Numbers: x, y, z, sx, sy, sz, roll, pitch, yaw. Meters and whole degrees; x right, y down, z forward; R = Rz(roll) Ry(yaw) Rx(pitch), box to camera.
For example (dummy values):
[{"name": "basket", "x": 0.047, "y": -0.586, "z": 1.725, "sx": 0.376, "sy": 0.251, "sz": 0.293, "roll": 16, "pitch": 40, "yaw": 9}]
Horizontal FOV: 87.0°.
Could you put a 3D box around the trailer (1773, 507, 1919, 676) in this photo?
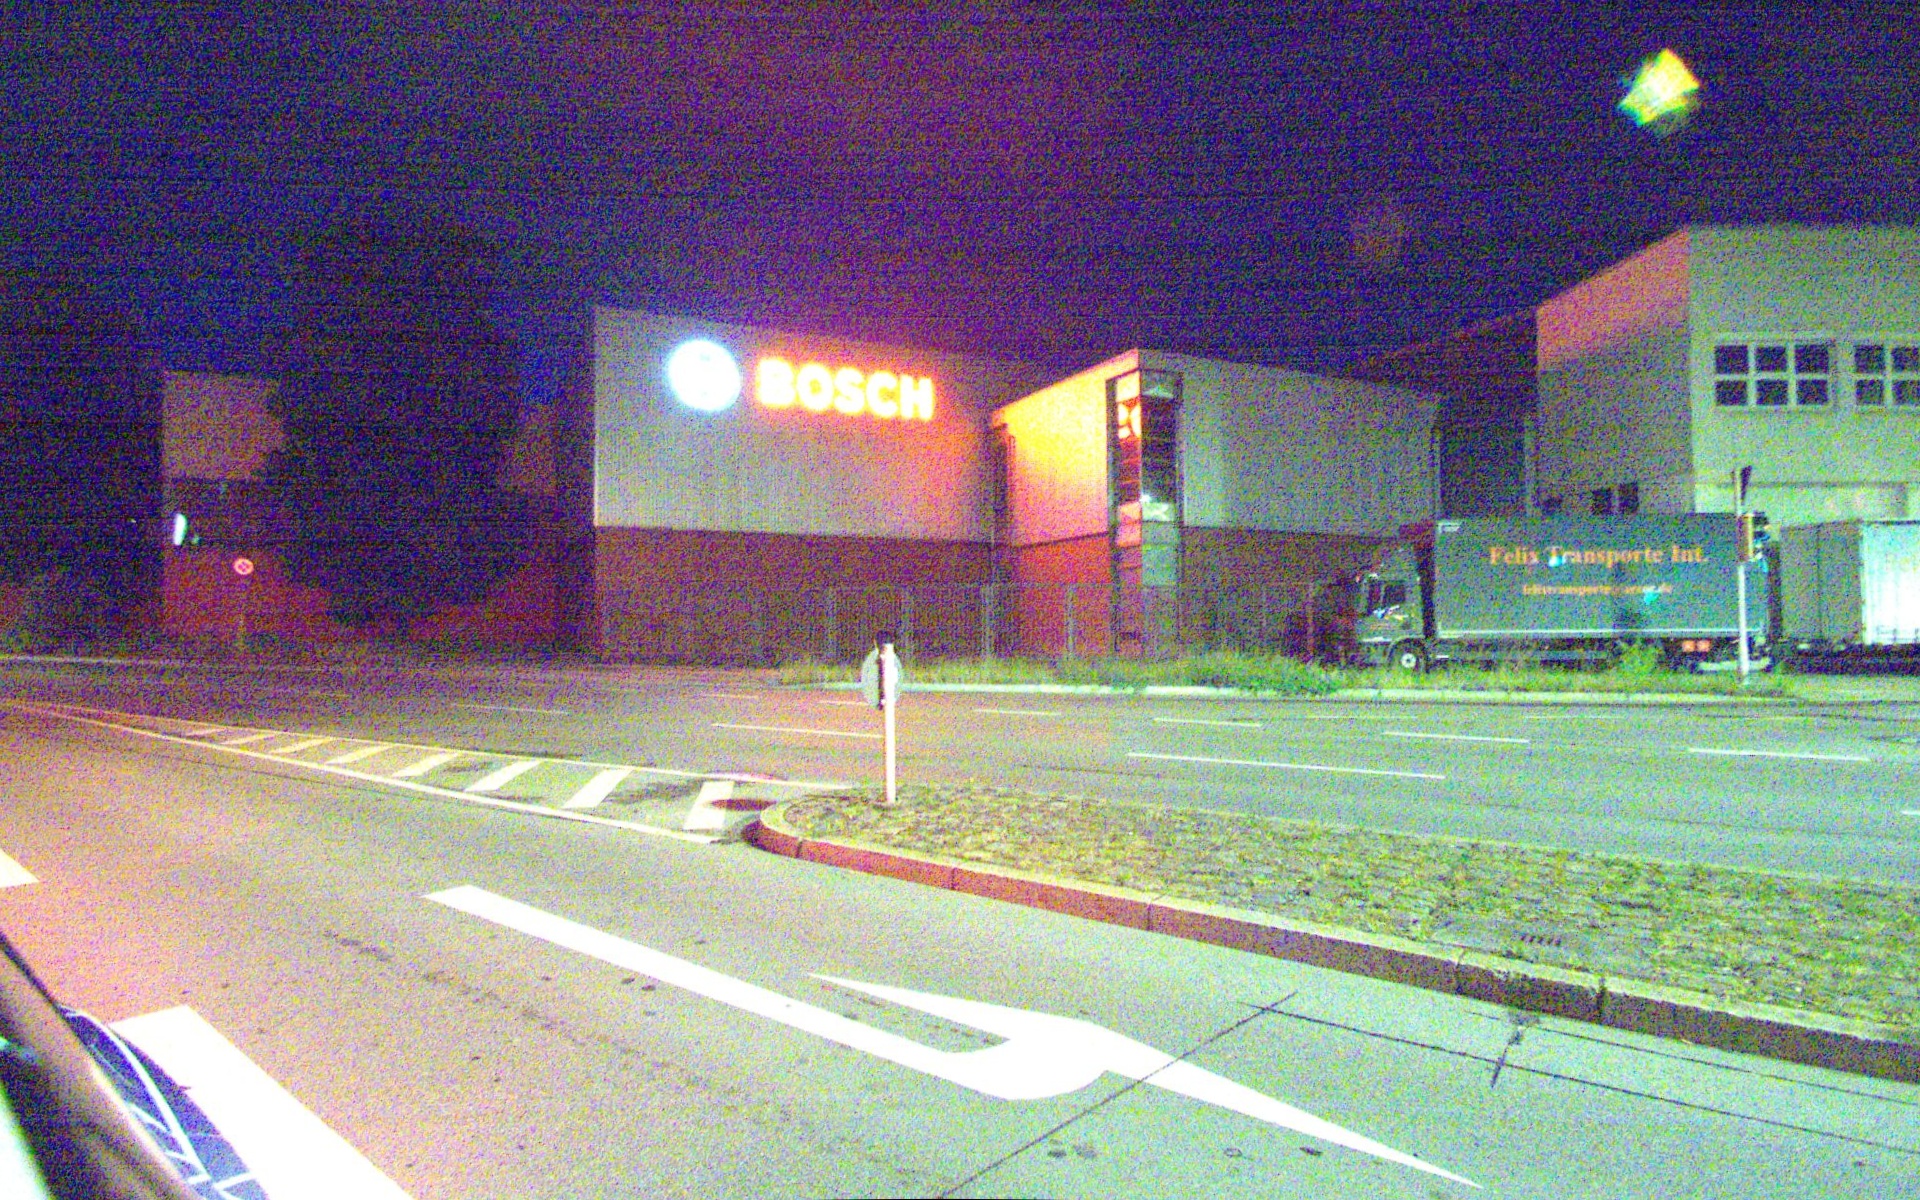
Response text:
[{"name": "trailer", "x": 23.700, "y": -0.170, "z": 24.039, "sx": 6.430, "sy": 3.819, "sz": 2.619, "roll": 0, "pitch": -1, "yaw": 4}]

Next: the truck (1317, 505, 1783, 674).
[{"name": "truck", "x": 14.001, "y": -0.244, "z": 24.818, "sx": 9.439, "sy": 3.825, "sz": 2.942, "roll": 0, "pitch": -1, "yaw": 6}]
